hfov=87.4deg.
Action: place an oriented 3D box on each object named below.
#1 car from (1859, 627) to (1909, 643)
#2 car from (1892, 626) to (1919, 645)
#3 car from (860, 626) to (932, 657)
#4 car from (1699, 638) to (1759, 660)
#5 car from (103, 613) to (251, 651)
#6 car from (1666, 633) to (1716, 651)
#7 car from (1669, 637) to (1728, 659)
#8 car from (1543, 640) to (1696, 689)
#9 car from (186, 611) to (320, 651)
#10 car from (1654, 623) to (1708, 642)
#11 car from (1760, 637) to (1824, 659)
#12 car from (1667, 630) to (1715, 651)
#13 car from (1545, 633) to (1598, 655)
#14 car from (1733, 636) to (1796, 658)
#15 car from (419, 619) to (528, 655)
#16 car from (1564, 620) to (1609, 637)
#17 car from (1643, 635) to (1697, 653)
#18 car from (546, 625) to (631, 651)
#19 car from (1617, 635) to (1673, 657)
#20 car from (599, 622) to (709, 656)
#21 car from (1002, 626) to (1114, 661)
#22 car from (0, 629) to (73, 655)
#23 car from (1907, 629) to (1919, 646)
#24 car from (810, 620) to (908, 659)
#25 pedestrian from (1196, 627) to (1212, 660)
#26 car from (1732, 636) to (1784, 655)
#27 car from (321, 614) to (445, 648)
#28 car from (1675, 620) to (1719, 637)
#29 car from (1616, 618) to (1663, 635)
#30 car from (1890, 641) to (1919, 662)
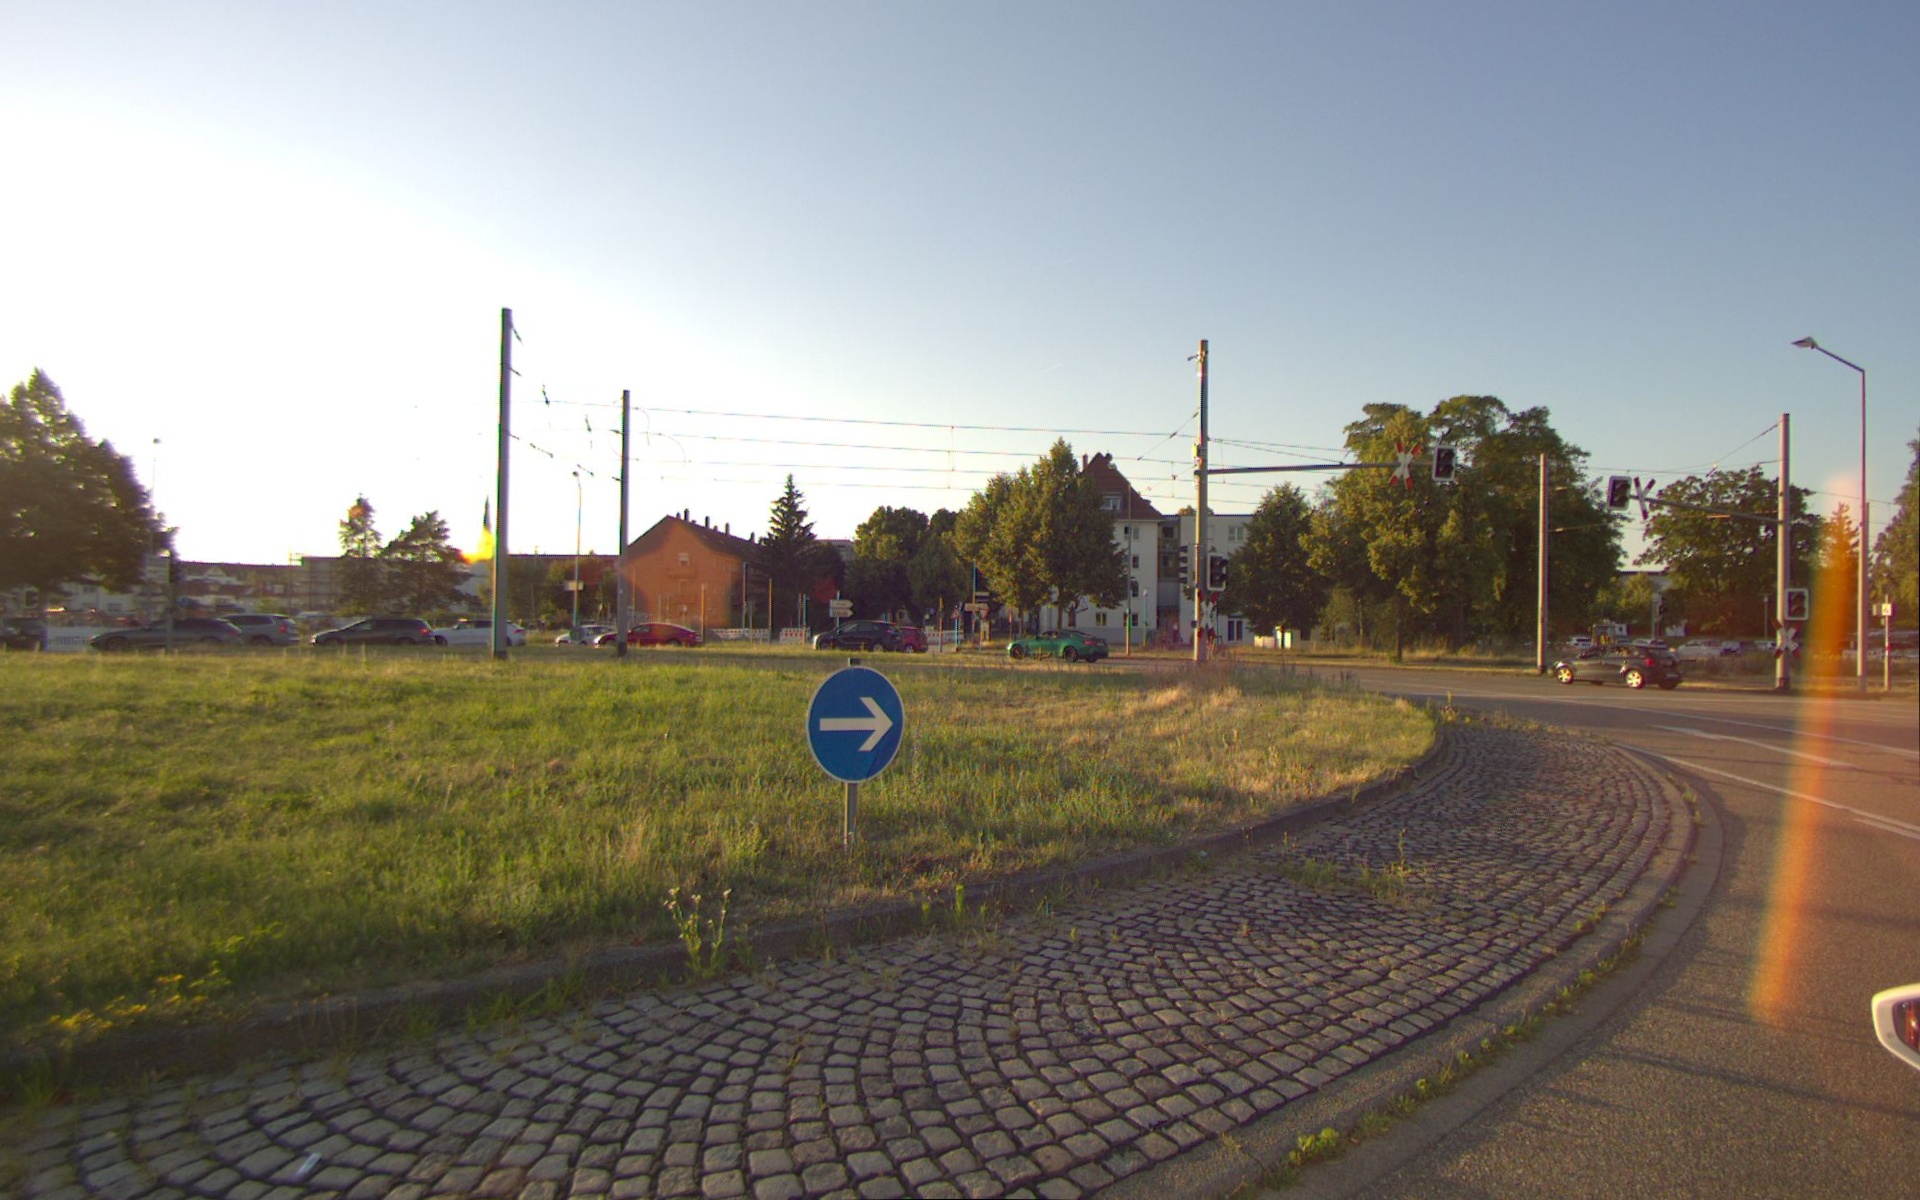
[{"bbox_3d":[108.006,4.106,117.451,3.919,1.840,2.001,1,-1,5],"label":"car"},{"bbox_3d":[107.427,4.007,112.599,3.919,2.040,2.001,1,-1,11],"label":"car"},{"bbox_3d":[-3.307,2.130,52.350,3.419,1.519,1.644,1,-1,12],"label":"car"},{"bbox_3d":[61.612,3.895,80.558,1.960,1.625,4.002,1,-1,3],"label":"car"},{"bbox_3d":[-30.684,1.248,39.557,4.299,1.394,1.985,1,-1,-29],"label":"car"},{"bbox_3d":[73.136,4.169,100.575,3.934,1.684,1.994,0,-1,35],"label":"car"},{"bbox_3d":[59.493,3.833,81.036,1.960,1.625,4.002,1,-1,3],"label":"car"},{"bbox_3d":[21.429,2.060,32.838,1.668,1.372,3.982,-1,-1,-20],"label":"car"},{"bbox_3d":[-31.881,1.404,45.444,4.559,1.759,1.887,1,-1,-20],"label":"car"},{"bbox_3d":[80.203,3.626,111.740,4.507,2.040,2.000,1,-1,0],"label":"car"},{"bbox_3d":[66.346,3.772,80.169,1.960,1.625,4.002,1,-1,3],"label":"car"},{"bbox_3d":[75.673,4.206,104.021,3.934,2.040,1.994,0,-1,35],"label":"car"},{"bbox_3d":[49.391,3.528,81.226,1.960,1.625,4.002,1,-1,3],"label":"car"},{"bbox_3d":[63.992,3.699,79.929,1.960,1.625,4.002,1,-1,3],"label":"car"},{"bbox_3d":[-24.640,1.878,51.081,4.638,1.728,1.994,1,-1,-15],"label":"car"},{"bbox_3d":[79.552,3.630,127.623,4.507,2.040,2.000,1,-1,0],"label":"car"},{"bbox_3d":[69.186,4.311,97.930,3.919,1.684,1.904,1,-1,5],"label":"car"},{"bbox_3d":[-21.708,2.199,58.888,2.071,1.385,4.462,0,-1,26],"label":"car"},{"bbox_3d":[54.733,3.685,80.334,1.960,1.625,4.002,1,-1,3],"label":"car"},{"bbox_3d":[-13.804,1.757,45.524,4.412,1.410,1.894,1,-1,-5],"label":"car"},{"bbox_3d":[4.255,1.859,44.169,4.666,1.389,1.990,0,-1,42],"label":"car"},{"bbox_3d":[-41.589,1.826,43.852,3.949,1.119,1.678,1,-1,-27],"label":"car"},{"bbox_3d":[105.559,4.090,108.722,1.971,1.728,3.979,1,-1,-22],"label":"car"},{"bbox_3d":[-4.503,1.744,44.925,3.922,1.605,1.895,0,-1,21],"label":"car"},{"bbox_3d":[14.525,2.600,59.848,0.614,1.918,0.662,2,0,-35],"label":"pedestrian"},{"bbox_3d":[77.323,4.400,97.414,3.938,1.684,1.894,0,-1,39],"label":"car"},{"bbox_3d":[-24.320,1.306,42.559,4.323,1.394,1.989,1,-1,-24],"label":"car"},{"bbox_3d":[93.178,3.567,127.032,4.033,2.040,2.001,1,-1,4],"label":"car"},{"bbox_3d":[86.227,3.360,127.440,4.505,2.040,2.001,1,-1,5],"label":"car"},{"bbox_3d":[76.330,4.071,79.474,1.960,1.625,4.002,1,-1,3],"label":"car"}]
